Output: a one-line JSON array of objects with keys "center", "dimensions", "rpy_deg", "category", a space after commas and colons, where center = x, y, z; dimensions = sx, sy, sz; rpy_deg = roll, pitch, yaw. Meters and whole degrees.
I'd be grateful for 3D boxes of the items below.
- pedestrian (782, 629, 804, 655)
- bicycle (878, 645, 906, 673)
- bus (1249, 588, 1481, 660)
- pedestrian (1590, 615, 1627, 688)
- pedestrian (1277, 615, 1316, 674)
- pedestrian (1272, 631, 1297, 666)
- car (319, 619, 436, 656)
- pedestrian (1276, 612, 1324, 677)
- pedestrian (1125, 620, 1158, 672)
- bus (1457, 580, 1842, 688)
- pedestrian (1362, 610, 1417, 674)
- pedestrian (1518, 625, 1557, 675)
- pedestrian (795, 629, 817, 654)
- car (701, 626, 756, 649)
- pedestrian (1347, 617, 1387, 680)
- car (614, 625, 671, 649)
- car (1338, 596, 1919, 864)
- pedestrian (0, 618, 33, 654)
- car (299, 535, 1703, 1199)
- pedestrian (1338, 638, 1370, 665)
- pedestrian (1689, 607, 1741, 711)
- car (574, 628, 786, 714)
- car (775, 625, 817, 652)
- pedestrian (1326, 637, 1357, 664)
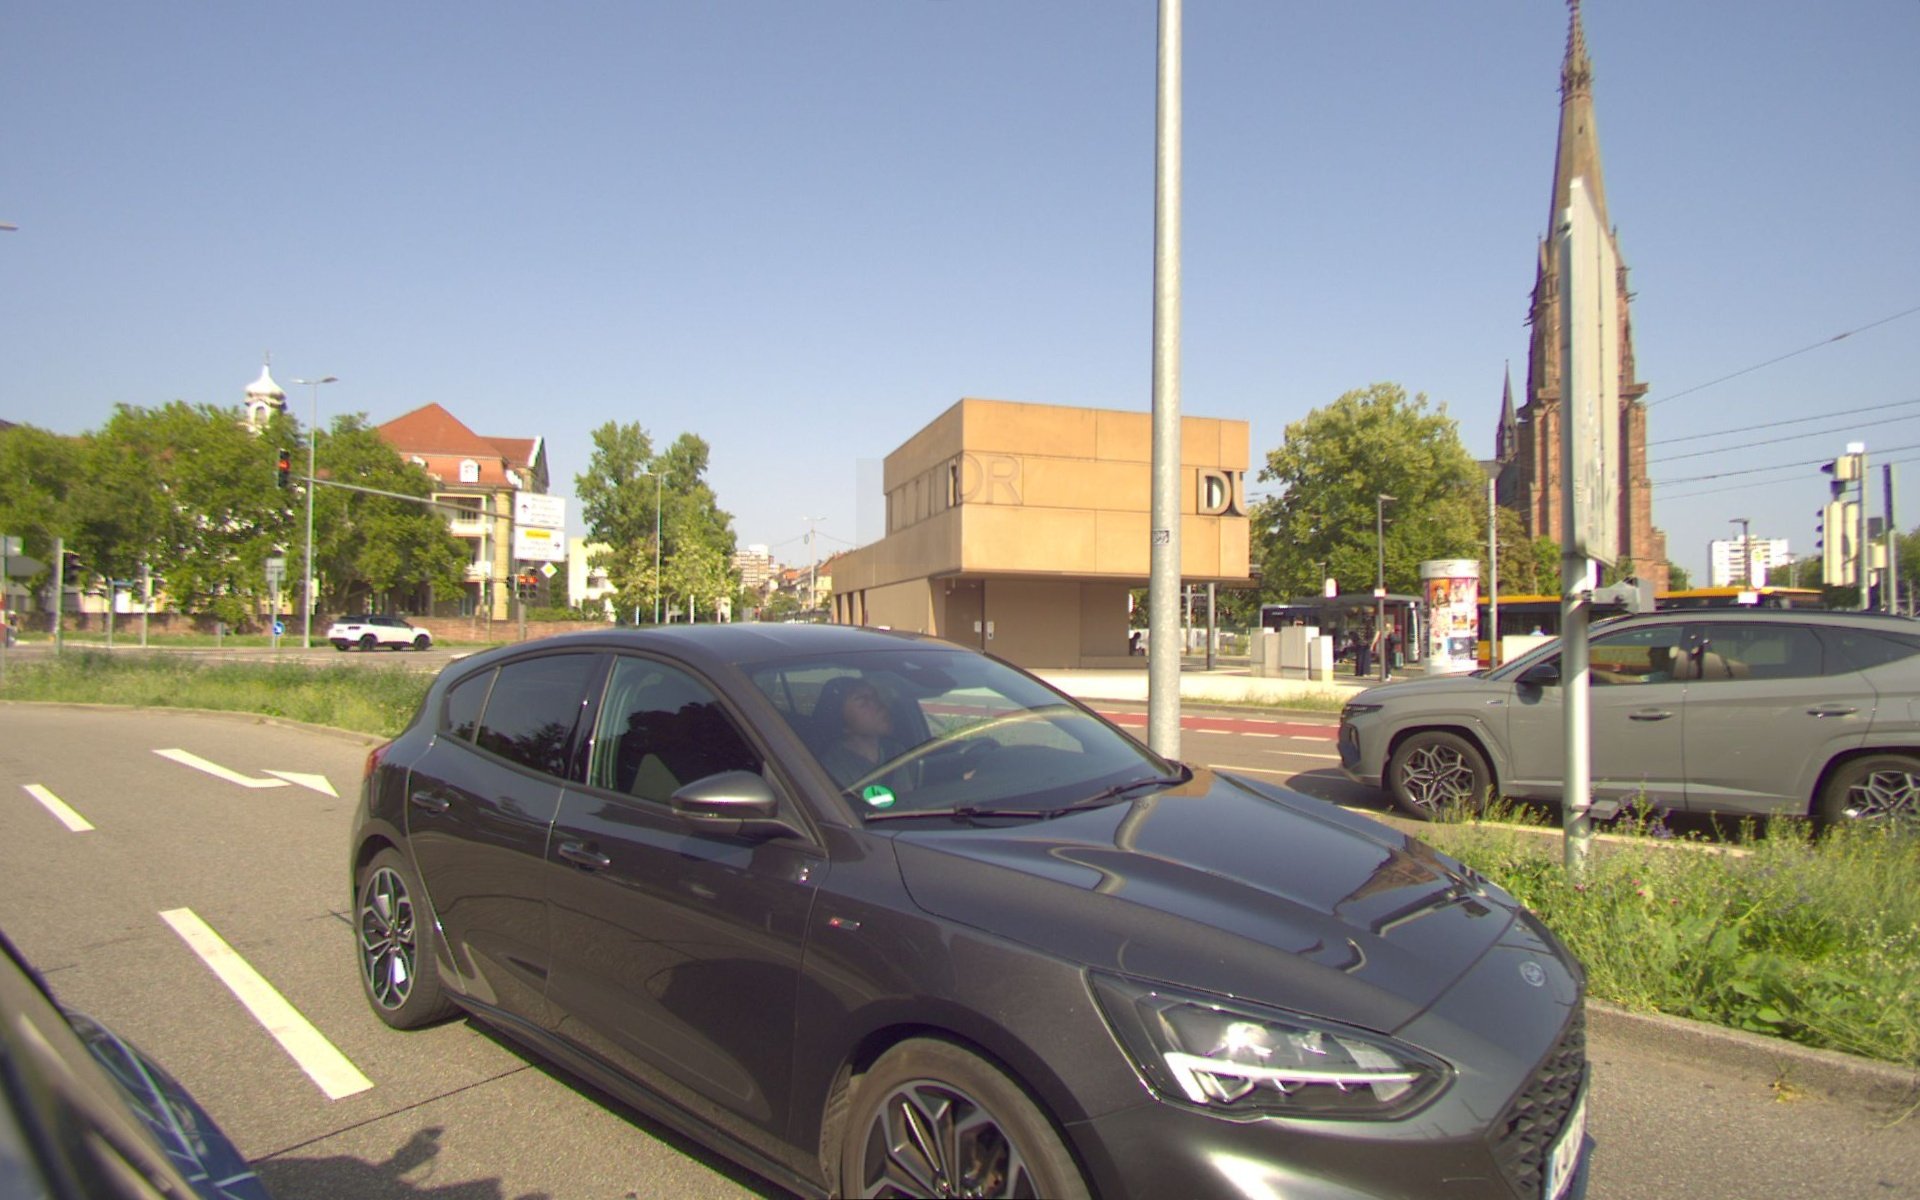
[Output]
[{"center": [-13.286, 3.318, 80.433], "dimensions": [1.204, 2.029, 1.333], "rpy_deg": [-1, -3, 23], "category": "pedestrian"}, {"center": [-2.181, 1.870, 32.329], "dimensions": [0.583, 0.844, 1.551], "rpy_deg": [-2, -2, -15], "category": "bicycle"}, {"center": [19.039, 1.248, 49.252], "dimensions": [3.243, 3.000, 12.833], "rpy_deg": [1, -2, -16], "category": "bus"}, {"center": [16.496, 1.307, 25.731], "dimensions": [0.700, 1.814, 0.770], "rpy_deg": [-1, -3, 38], "category": "pedestrian"}, {"center": [9.911, 1.297, 29.809], "dimensions": [0.863, 1.685, 0.979], "rpy_deg": [-1, -3, 33], "category": "pedestrian"}, {"center": [16.051, 2.397, 50.011], "dimensions": [0.816, 1.719, 0.838], "rpy_deg": [1, -2, -23], "category": "pedestrian"}, {"center": [-26.829, 1.729, 46.746], "dimensions": [1.988, 1.646, 4.336], "rpy_deg": [-1, -2, 24], "category": "car"}, {"center": [9.519, 1.243, 28.350], "dimensions": [0.973, 1.783, 0.868], "rpy_deg": [2, -3, -35], "category": "pedestrian"}, {"center": [6.098, 1.555, 33.980], "dimensions": [0.851, 1.718, 0.734], "rpy_deg": [1, -2, -20], "category": "pedestrian"}, {"center": [23.271, 1.220, 35.708], "dimensions": [2.670, 3.132, 12.249], "rpy_deg": [1, -2, -16], "category": "bus"}, {"center": [10.875, 1.063, 25.649], "dimensions": [0.852, 1.571, 0.992], "rpy_deg": [1, -2, -10], "category": "pedestrian"}, {"center": [20.347, 1.753, 35.682], "dimensions": [0.818, 1.752, 0.837], "rpy_deg": [0, -2, -5], "category": "pedestrian"}, {"center": [-12.465, 3.386, 82.018], "dimensions": [1.204, 2.029, 1.333], "rpy_deg": [-1, -3, 23], "category": "pedestrian"}, {"center": [-17.359, 2.819, 76.108], "dimensions": [1.986, 1.646, 4.341], "rpy_deg": [-1, -3, 21], "category": "car"}, {"center": [11.358, 1.345, 28.220], "dimensions": [0.863, 1.718, 0.979], "rpy_deg": [-1, -3, 33], "category": "pedestrian"}, {"center": [-20.474, 2.410, 65.382], "dimensions": [1.611, 1.509, 3.829], "rpy_deg": [0, -2, 17], "category": "car"}, {"center": [5.332, 0.838, 7.547], "dimensions": [4.450, 1.630, 1.679], "rpy_deg": [-1, -3, 35], "category": "car"}, {"center": [-54.932, 2.078, 58.871], "dimensions": [1.311, 2.029, 1.070], "rpy_deg": [-1, -2, 26], "category": "pedestrian"}, {"center": [-0.409, 0.708, 3.390], "dimensions": [4.547, 1.446, 1.813], "rpy_deg": [-1, -2, 41], "category": "car"}, {"center": [16.577, 2.163, 42.611], "dimensions": [1.013, 1.142, 0.740], "rpy_deg": [1, -2, -24], "category": "pedestrian"}, {"center": [13.581, 1.050, 18.212], "dimensions": [0.700, 1.814, 0.770], "rpy_deg": [-1, -3, 38], "category": "pedestrian"}, {"center": [-5.377, 1.265, 19.189], "dimensions": [4.221, 1.444, 1.795], "rpy_deg": [-1, -3, 40], "category": "car"}, {"center": [-15.914, 3.719, 98.458], "dimensions": [1.980, 2.470, 5.527], "rpy_deg": [-1, 0, 14], "category": "car"}, {"center": [16.374, 2.170, 43.459], "dimensions": [1.013, 1.142, 0.740], "rpy_deg": [1, -2, -24], "category": "pedestrian"}]
